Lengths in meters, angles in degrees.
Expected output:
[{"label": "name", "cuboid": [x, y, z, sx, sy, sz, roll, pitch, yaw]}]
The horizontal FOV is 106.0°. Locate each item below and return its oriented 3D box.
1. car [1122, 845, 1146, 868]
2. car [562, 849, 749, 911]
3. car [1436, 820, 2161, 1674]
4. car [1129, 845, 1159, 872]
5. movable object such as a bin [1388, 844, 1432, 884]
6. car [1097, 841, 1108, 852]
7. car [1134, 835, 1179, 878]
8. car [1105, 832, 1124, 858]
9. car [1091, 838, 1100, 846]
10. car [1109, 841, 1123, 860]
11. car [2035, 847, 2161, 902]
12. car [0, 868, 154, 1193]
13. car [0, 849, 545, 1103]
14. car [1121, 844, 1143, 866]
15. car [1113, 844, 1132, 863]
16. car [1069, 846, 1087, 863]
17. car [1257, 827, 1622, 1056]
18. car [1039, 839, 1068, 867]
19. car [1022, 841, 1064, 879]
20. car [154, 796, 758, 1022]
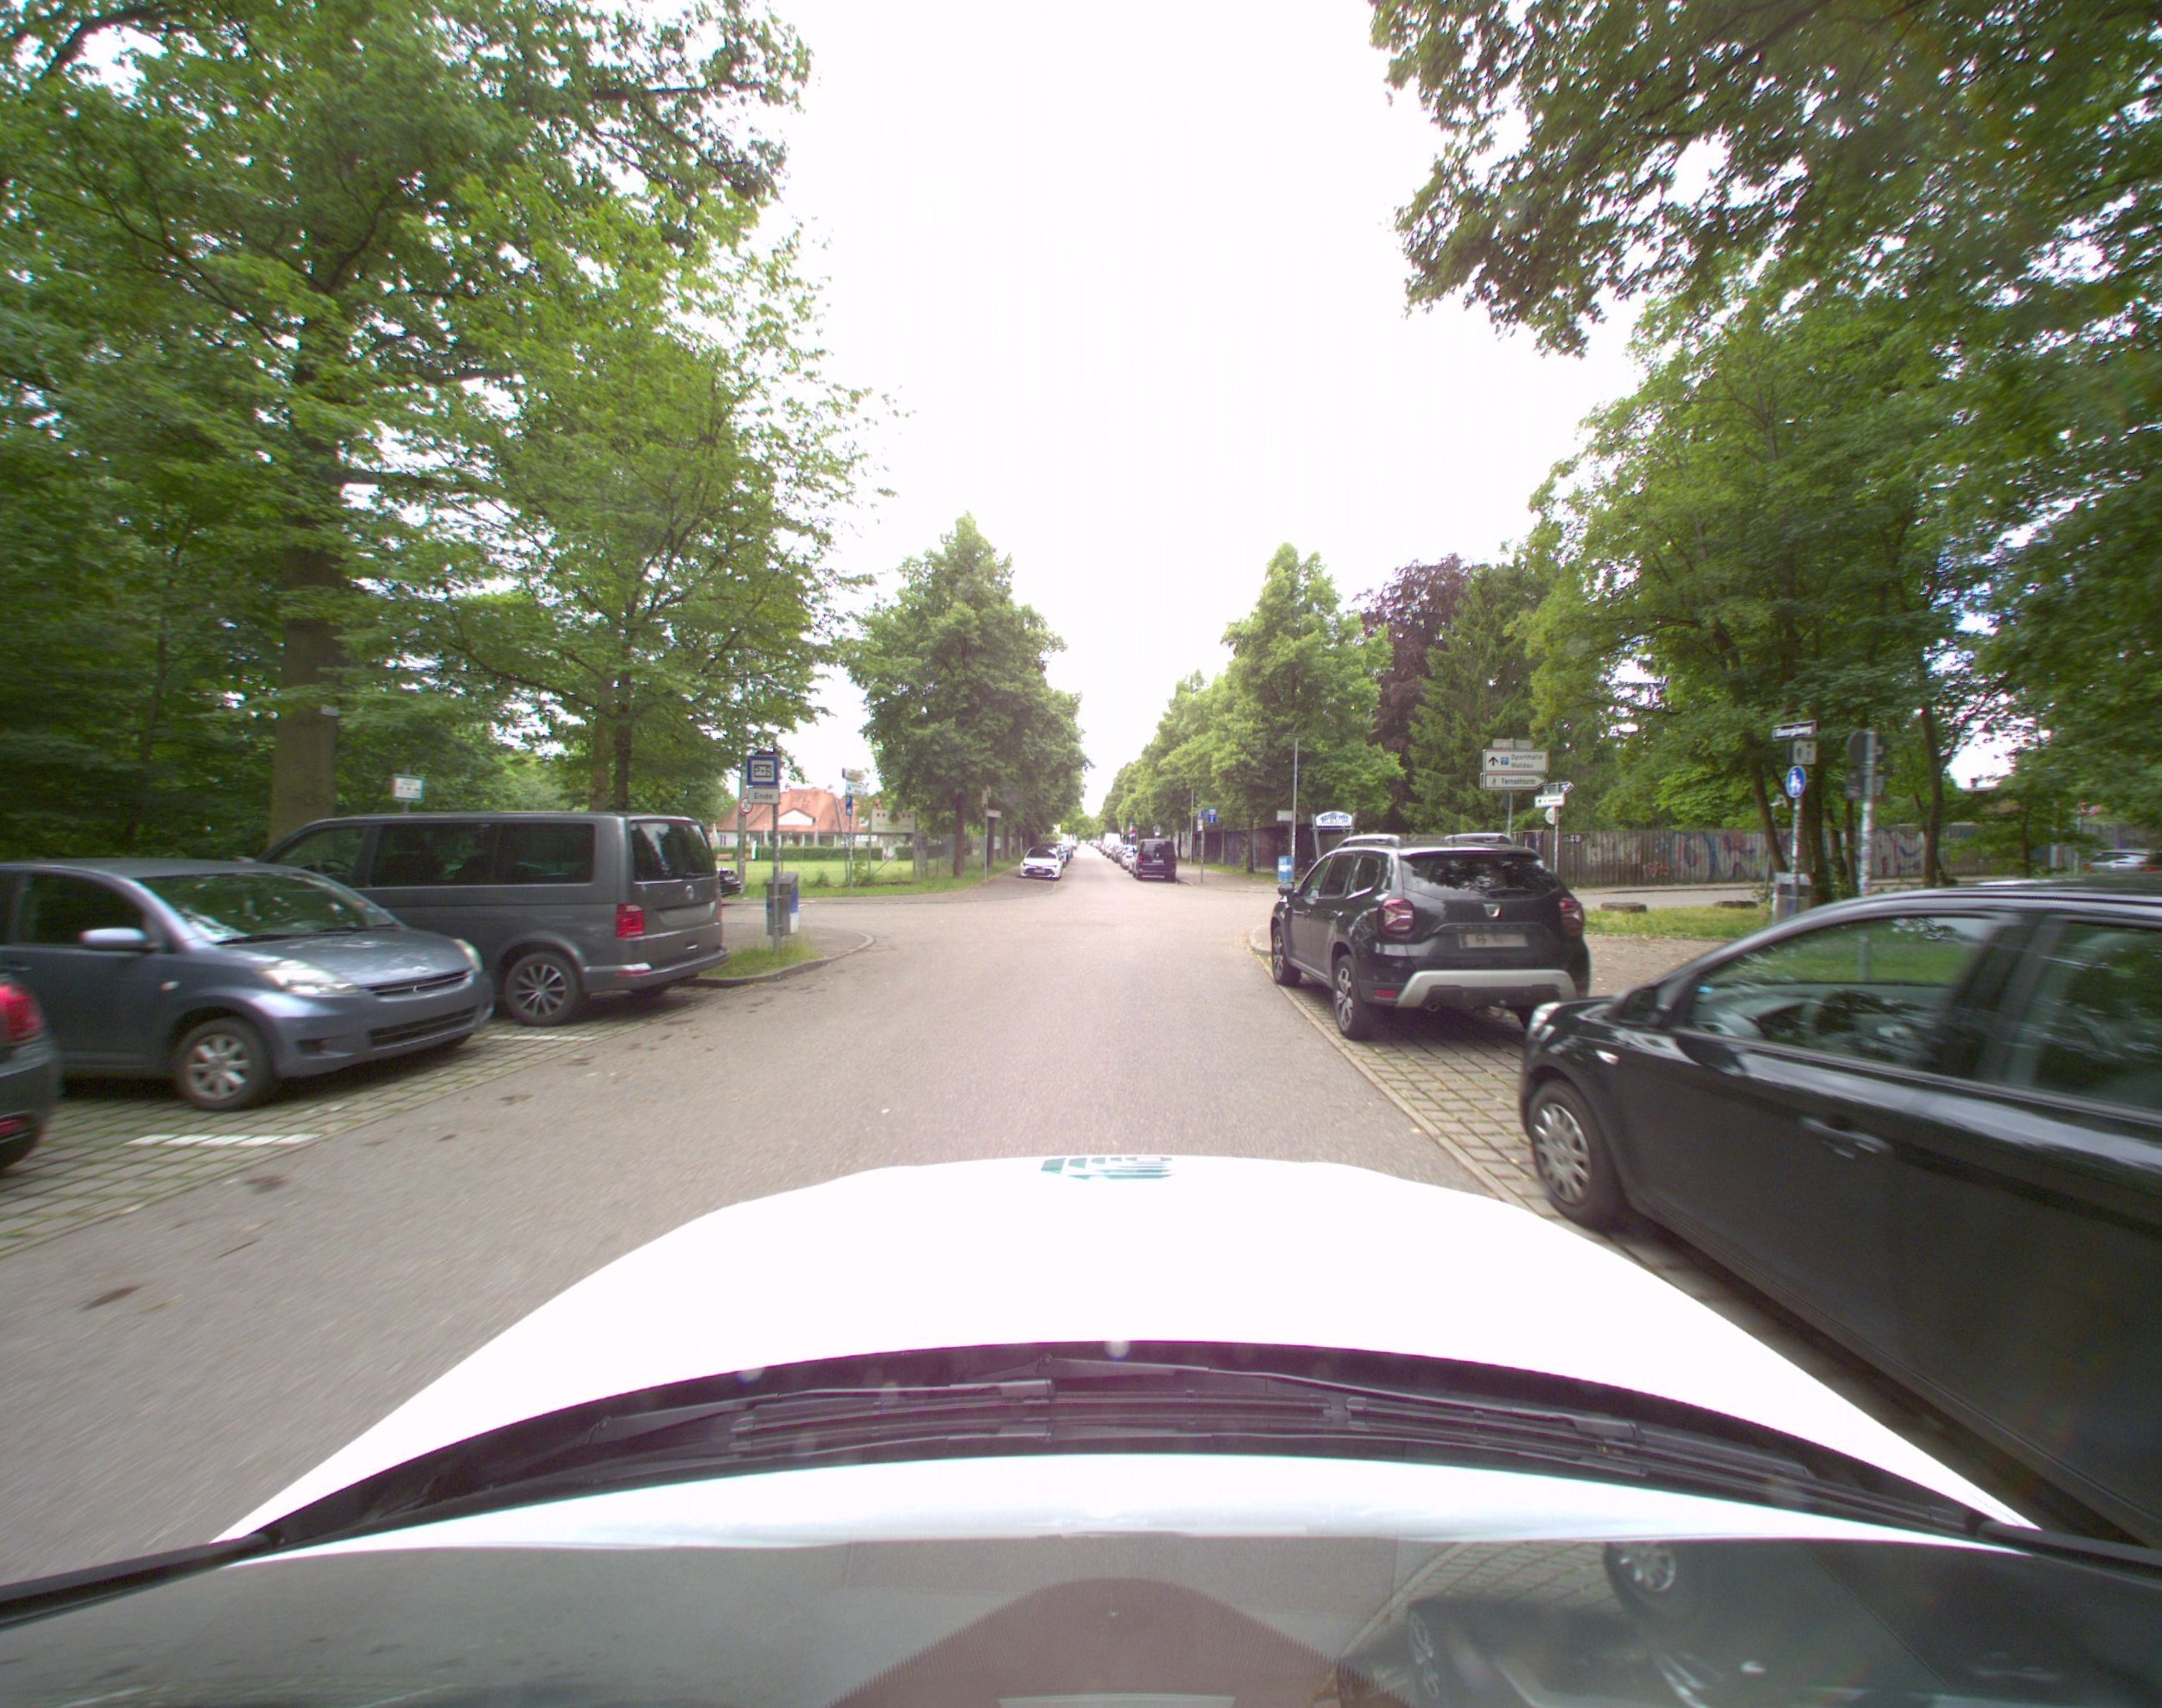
[{"label": "car", "cuboid": [3.490, 0.169, 54.037, 1.463, 1.481, 3.190, 0, 0, 2]}, {"label": "car", "cuboid": [-12.006, 0.709, 23.152, 4.295, 1.494, 1.774, -2, 2, 2]}, {"label": "car", "cuboid": [2.772, 0.684, 2.346, 1.730, 1.495, 4.234, 0, 0, 1]}, {"label": "car", "cuboid": [3.591, 0.229, 46.840, 1.591, 1.481, 3.522, 0, 1, 2]}, {"label": "movable object such as a bin", "cuboid": [12.248, 0.370, 30.336, 1.293, 1.442, 1.066, 1, -1, -44]}, {"label": "car", "cuboid": [4.245, -1.447, 157.601, 1.985, 2.014, 4.004, 0, -1, 4]}, {"label": "car", "cuboid": [3.661, 0.087, 40.020, 1.981, 2.013, 4.110, 0, 0, 2]}, {"label": "car", "cuboid": [4.008, -1.109, 97.651, 2.176, 3.015, 4.899, 0, 0, 2]}, {"label": "car", "cuboid": [3.478, -2.819, 191.061, 1.890, 1.706, 4.068, 0, -1, 4]}, {"label": "car", "cuboid": [3.579, -0.343, 84.036, 1.463, 1.967, 3.190, 0, 0, 2]}, {"label": "car", "cuboid": [32.565, 0.603, 25.343, 3.986, 1.507, 1.909, 0, 3, -9]}, {"label": "car", "cuboid": [-6.808, 0.781, 3.364, 3.973, 1.430, 1.721, 1, 0, 1]}, {"label": "car", "cuboid": [-6.352, 0.747, 5.844, 3.799, 1.512, 1.811, -1, 1, 2]}, {"label": "car", "cuboid": [3.672, 0.032, 59.161, 1.463, 1.531, 3.190, 0, 0, 2]}, {"label": "car", "cuboid": [3.447, -0.073, 68.156, 1.463, 1.531, 3.190, 0, 0, 2]}, {"label": "car", "cuboid": [-0.334, 0.030, 79.758, 1.590, 1.559, 3.191, -1, 1, -2]}, {"label": "car", "cuboid": [3.030, 0.615, 7.996, 1.730, 1.633, 4.376, 0, 0, 1]}, {"label": "car", "cuboid": [-1.723, -0.065, 51.472, 1.687, 1.596, 3.997, 2, 0, -2]}, {"label": "car", "cuboid": [-1.700, 0.242, 37.404, 1.760, 1.596, 4.213, 2, 0, -2]}, {"label": "car", "cuboid": [-5.869, 0.490, 8.140, 4.489, 1.978, 1.890, 0, -1, -1]}]
